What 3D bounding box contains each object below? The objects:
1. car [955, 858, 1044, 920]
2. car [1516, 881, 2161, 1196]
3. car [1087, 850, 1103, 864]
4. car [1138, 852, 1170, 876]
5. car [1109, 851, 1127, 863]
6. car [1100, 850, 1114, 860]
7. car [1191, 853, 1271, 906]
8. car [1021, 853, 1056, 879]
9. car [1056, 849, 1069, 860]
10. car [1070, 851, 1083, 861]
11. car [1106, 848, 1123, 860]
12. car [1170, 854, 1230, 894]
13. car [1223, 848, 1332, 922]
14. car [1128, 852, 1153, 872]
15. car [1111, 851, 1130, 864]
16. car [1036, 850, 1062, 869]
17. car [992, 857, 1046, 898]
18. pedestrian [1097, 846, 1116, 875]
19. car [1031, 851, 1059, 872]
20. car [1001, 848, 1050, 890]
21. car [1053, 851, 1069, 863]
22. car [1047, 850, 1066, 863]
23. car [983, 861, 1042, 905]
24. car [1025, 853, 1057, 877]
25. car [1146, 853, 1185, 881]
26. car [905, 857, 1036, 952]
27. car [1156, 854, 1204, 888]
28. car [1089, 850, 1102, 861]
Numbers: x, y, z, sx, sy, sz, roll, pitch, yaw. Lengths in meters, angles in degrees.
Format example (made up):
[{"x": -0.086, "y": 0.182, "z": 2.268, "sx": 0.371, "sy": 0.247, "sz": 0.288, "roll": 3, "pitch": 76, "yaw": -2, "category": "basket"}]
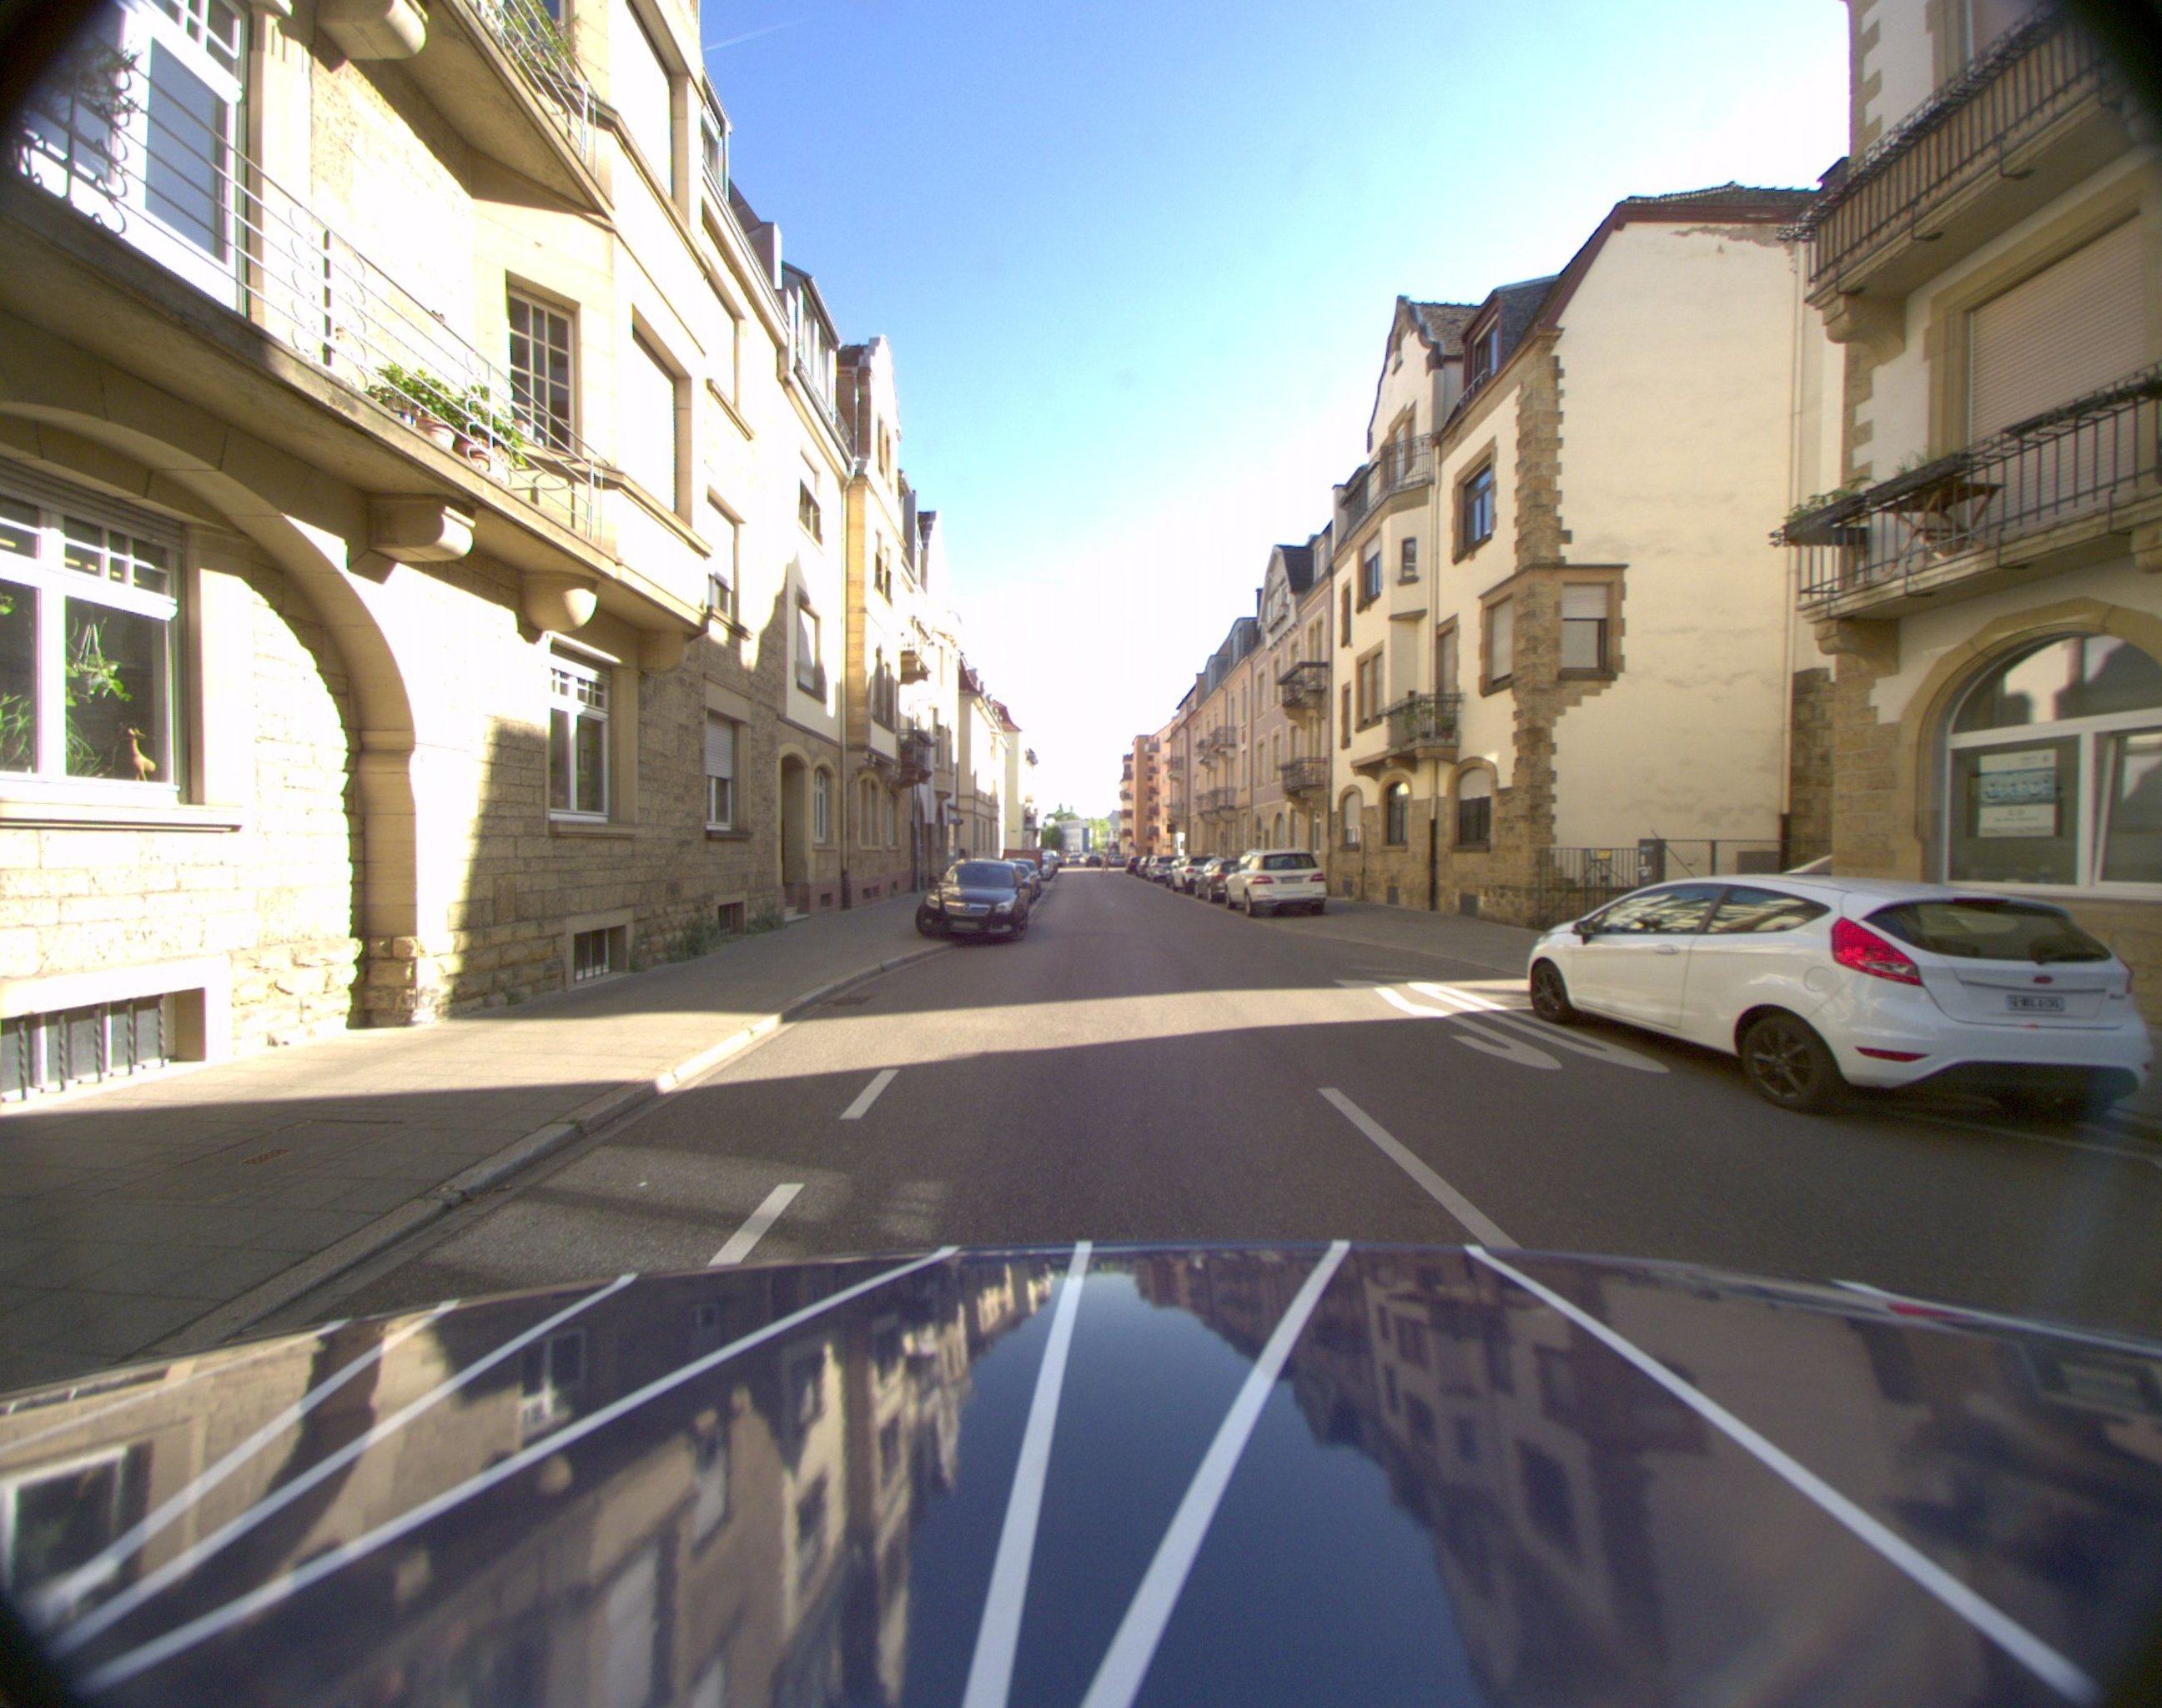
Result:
[{"x": -2.094, "y": 0.870, "z": 20.803, "sx": 2.005, "sy": 1.499, "sz": 4.321, "roll": 1, "pitch": 0, "yaw": -1, "category": "car"}, {"x": 5.115, "y": 1.010, "z": 5.696, "sx": 1.656, "sy": 1.449, "sz": 3.643, "roll": 2, "pitch": 0, "yaw": 2, "category": "car"}, {"x": 1.576, "y": 0.319, "z": 86.323, "sx": 1.656, "sy": 1.449, "sz": 3.642, "roll": 0, "pitch": 1, "yaw": -1, "category": "car"}, {"x": 4.994, "y": 0.661, "z": 52.354, "sx": 1.809, "sy": 1.500, "sz": 4.003, "roll": -2, "pitch": 1, "yaw": 1, "category": "car"}, {"x": 4.624, "y": 0.382, "z": 96.209, "sx": 2.005, "sy": 1.500, "sz": 4.320, "roll": 1, "pitch": 1, "yaw": -1, "category": "car"}, {"x": 3.959, "y": 0.176, "z": 116.763, "sx": 2.005, "sy": 1.500, "sz": 4.320, "roll": 1, "pitch": 1, "yaw": -1, "category": "car"}, {"x": 5.126, "y": 0.815, "z": 26.548, "sx": 1.890, "sy": 1.500, "sz": 4.320, "roll": -4, "pitch": 1, "yaw": 1, "category": "car"}, {"x": -2.650, "y": 0.712, "z": 47.871, "sx": 2.005, "sy": 1.500, "sz": 4.320, "roll": 1, "pitch": 1, "yaw": -1, "category": "car"}, {"x": -2.941, "y": 0.059, "z": 123.339, "sx": 2.005, "sy": 1.722, "sz": 4.320, "roll": 1, "pitch": 1, "yaw": -1, "category": "car"}, {"x": -0.699, "y": 0.340, "z": 119.456, "sx": 2.005, "sy": 1.500, "sz": 4.320, "roll": 1, "pitch": 1, "yaw": -1, "category": "car"}, {"x": 4.519, "y": -0.007, "z": 101.961, "sx": 2.005, "sy": 1.500, "sz": 4.320, "roll": 1, "pitch": 1, "yaw": -1, "category": "car"}, {"x": 4.987, "y": 0.788, "z": 32.369, "sx": 1.890, "sy": 1.500, "sz": 4.320, "roll": -2, "pitch": 1, "yaw": 1, "category": "car"}, {"x": 5.199, "y": 0.746, "z": 20.711, "sx": 1.890, "sy": 1.717, "sz": 4.211, "roll": -2, "pitch": 1, "yaw": 1, "category": "car"}, {"x": 4.895, "y": 0.633, "z": 62.976, "sx": 1.793, "sy": 1.500, "sz": 4.320, "roll": -2, "pitch": 1, "yaw": 1, "category": "car"}, {"x": 4.674, "y": 0.399, "z": 91.395, "sx": 2.005, "sy": 1.500, "sz": 4.320, "roll": 1, "pitch": 1, "yaw": -1, "category": "car"}, {"x": -2.670, "y": 0.445, "z": 64.502, "sx": 2.005, "sy": 1.500, "sz": 4.320, "roll": 1, "pitch": 1, "yaw": -1, "category": "car"}, {"x": -2.382, "y": 0.886, "z": 30.124, "sx": 1.824, "sy": 1.415, "sz": 4.320, "roll": 1, "pitch": 1, "yaw": -1, "category": "car"}, {"x": 1.864, "y": 0.468, "z": 55.335, "sx": 0.950, "sy": 2.002, "sz": 1.068, "roll": -2, "pitch": 1, "yaw": 25, "category": "pedestrian"}, {"x": -2.743, "y": 0.530, "z": 58.669, "sx": 2.005, "sy": 1.500, "sz": 4.320, "roll": 1, "pitch": 1, "yaw": -1, "category": "car"}, {"x": -2.557, "y": 0.645, "z": 35.813, "sx": 2.005, "sy": 1.828, "sz": 4.320, "roll": 1, "pitch": 1, "yaw": -1, "category": "car"}, {"x": -2.582, "y": 0.422, "z": 99.956, "sx": 2.005, "sy": 1.500, "sz": 4.320, "roll": 1, "pitch": 1, "yaw": -1, "category": "car"}, {"x": -2.843, "y": 0.259, "z": 88.982, "sx": 2.005, "sy": 1.500, "sz": 4.320, "roll": 1, "pitch": 1, "yaw": -1, "category": "car"}, {"x": -2.230, "y": 0.922, "z": 25.381, "sx": 1.661, "sy": 1.272, "sz": 3.729, "roll": 1, "pitch": 1, "yaw": -1, "category": "car"}, {"x": -2.746, "y": 0.731, "z": 52.644, "sx": 2.005, "sy": 1.500, "sz": 4.320, "roll": 1, "pitch": 1, "yaw": -1, "category": "car"}, {"x": 5.023, "y": 0.726, "z": 45.836, "sx": 1.890, "sy": 1.500, "sz": 4.320, "roll": -2, "pitch": 1, "yaw": 1, "category": "car"}, {"x": -2.033, "y": 0.878, "z": 15.203, "sx": 2.024, "sy": 1.500, "sz": 4.111, "roll": 2, "pitch": 1, "yaw": -1, "category": "car"}, {"x": 4.858, "y": 0.810, "z": 37.810, "sx": 1.857, "sy": 1.491, "sz": 4.318, "roll": -2, "pitch": 1, "yaw": 1, "category": "car"}, {"x": 1.986, "y": 0.184, "z": 106.291, "sx": 1.702, "sy": 1.474, "sz": 3.533, "roll": 1, "pitch": 0, "yaw": -1, "category": "car"}]
